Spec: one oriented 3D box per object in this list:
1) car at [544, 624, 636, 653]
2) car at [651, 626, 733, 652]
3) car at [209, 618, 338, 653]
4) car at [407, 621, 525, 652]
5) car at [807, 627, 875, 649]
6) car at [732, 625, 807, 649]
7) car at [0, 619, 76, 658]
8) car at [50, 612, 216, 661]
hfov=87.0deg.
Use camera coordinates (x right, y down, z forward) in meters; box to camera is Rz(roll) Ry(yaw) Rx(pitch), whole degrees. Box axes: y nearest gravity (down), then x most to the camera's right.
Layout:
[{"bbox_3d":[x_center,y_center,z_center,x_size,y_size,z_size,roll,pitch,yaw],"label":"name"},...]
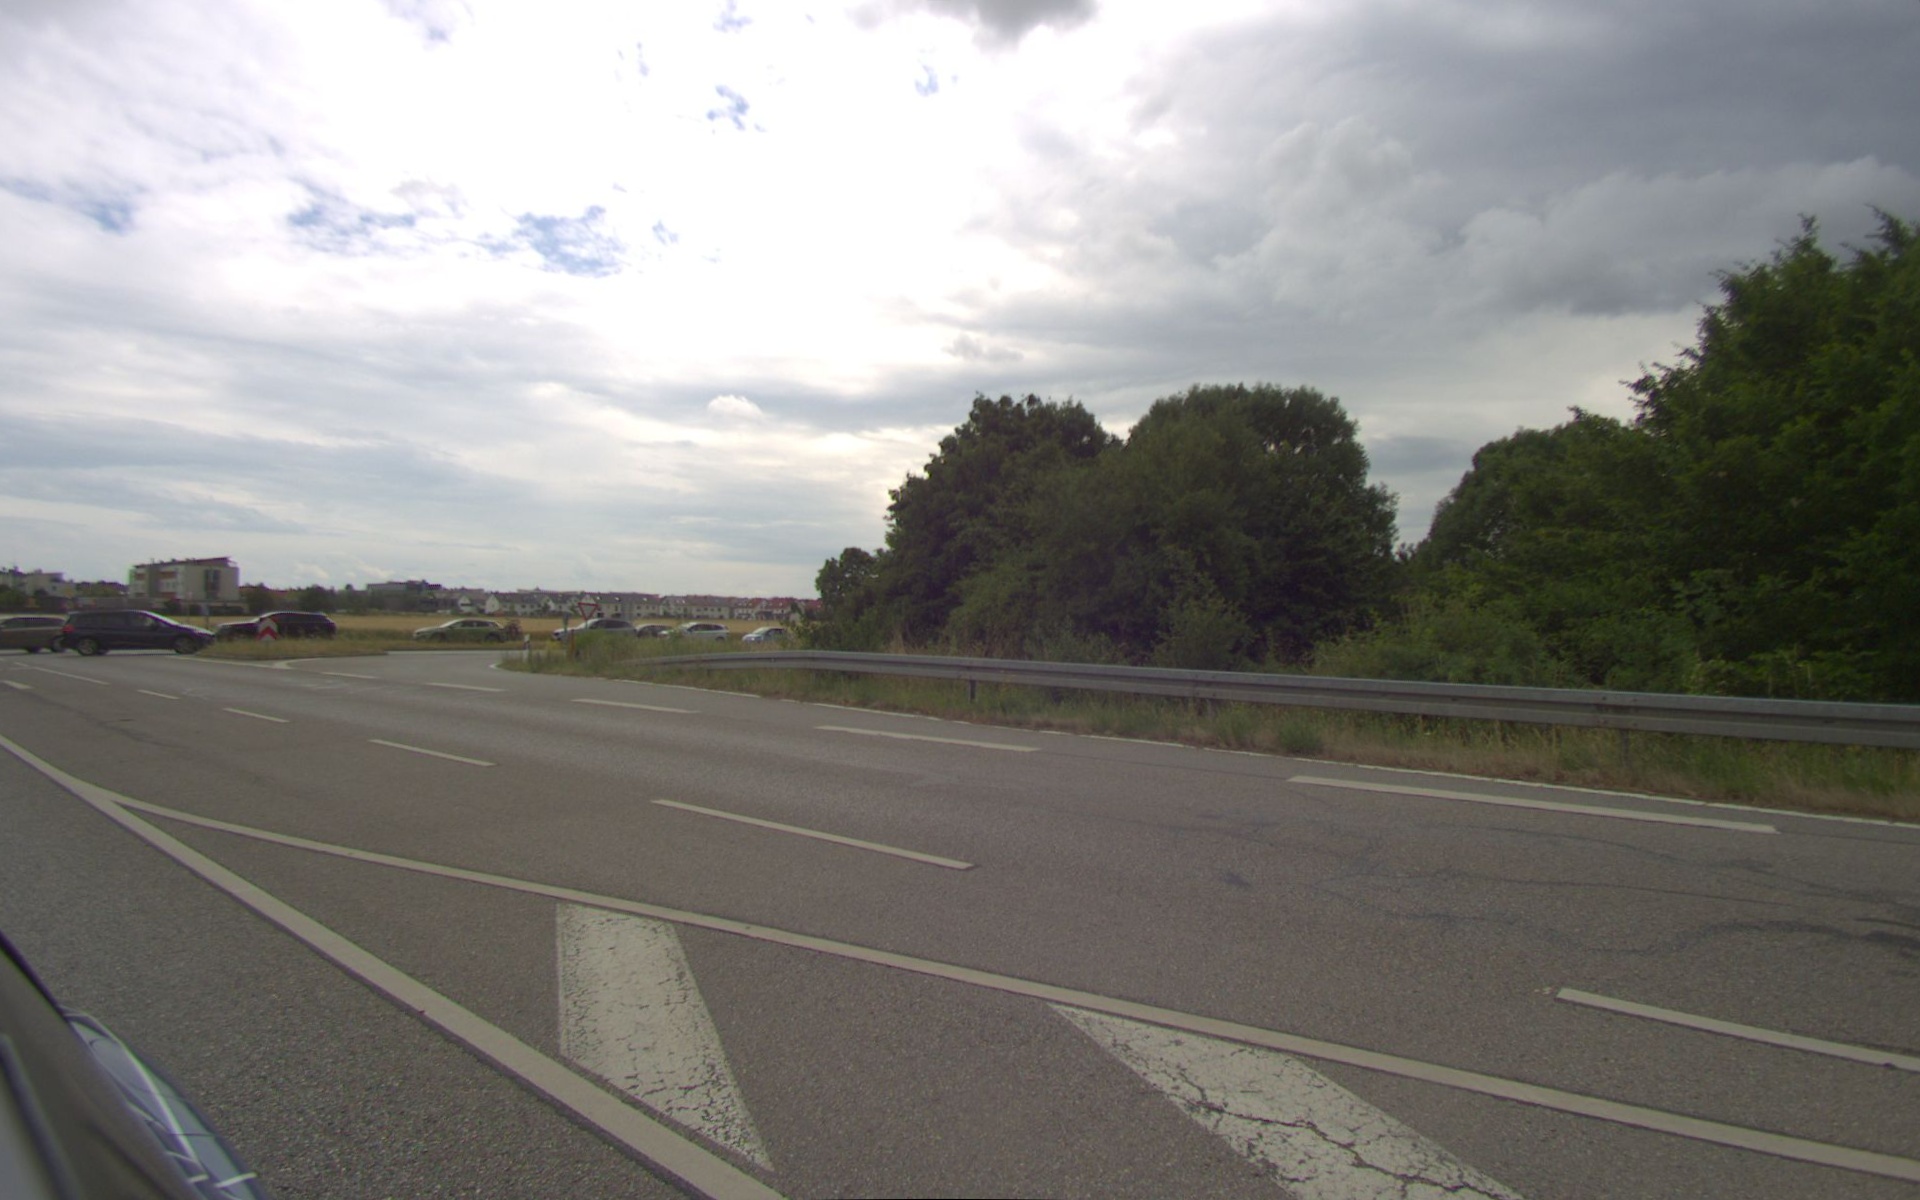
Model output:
[{"bbox_3d":[-20.978,2.170,57.488,4.568,1.528,1.913,2,-2,-43],"label":"car"},{"bbox_3d":[-16.291,2.356,61.560,4.437,1.493,1.913,2,-2,-43],"label":"car"},{"bbox_3d":[-31.592,1.622,46.647,4.683,1.543,1.913,2,-2,-43],"label":"car"},{"bbox_3d":[-25.736,1.902,52.858,5.221,1.533,1.913,2,-2,-43],"label":"car"},{"bbox_3d":[-8.208,2.621,70.094,1.912,1.493,4.440,-1,-2,44],"label":"car"},{"bbox_3d":[-12.352,2.413,65.774,4.437,1.493,1.913,2,-2,-43],"label":"car"},{"bbox_3d":[-36.414,1.445,38.019,1.899,1.435,4.430,0,-1,23],"label":"car"},{"bbox_3d":[-30.099,1.295,36.999,4.404,1.623,1.713,-1,0,-26],"label":"car"}]
